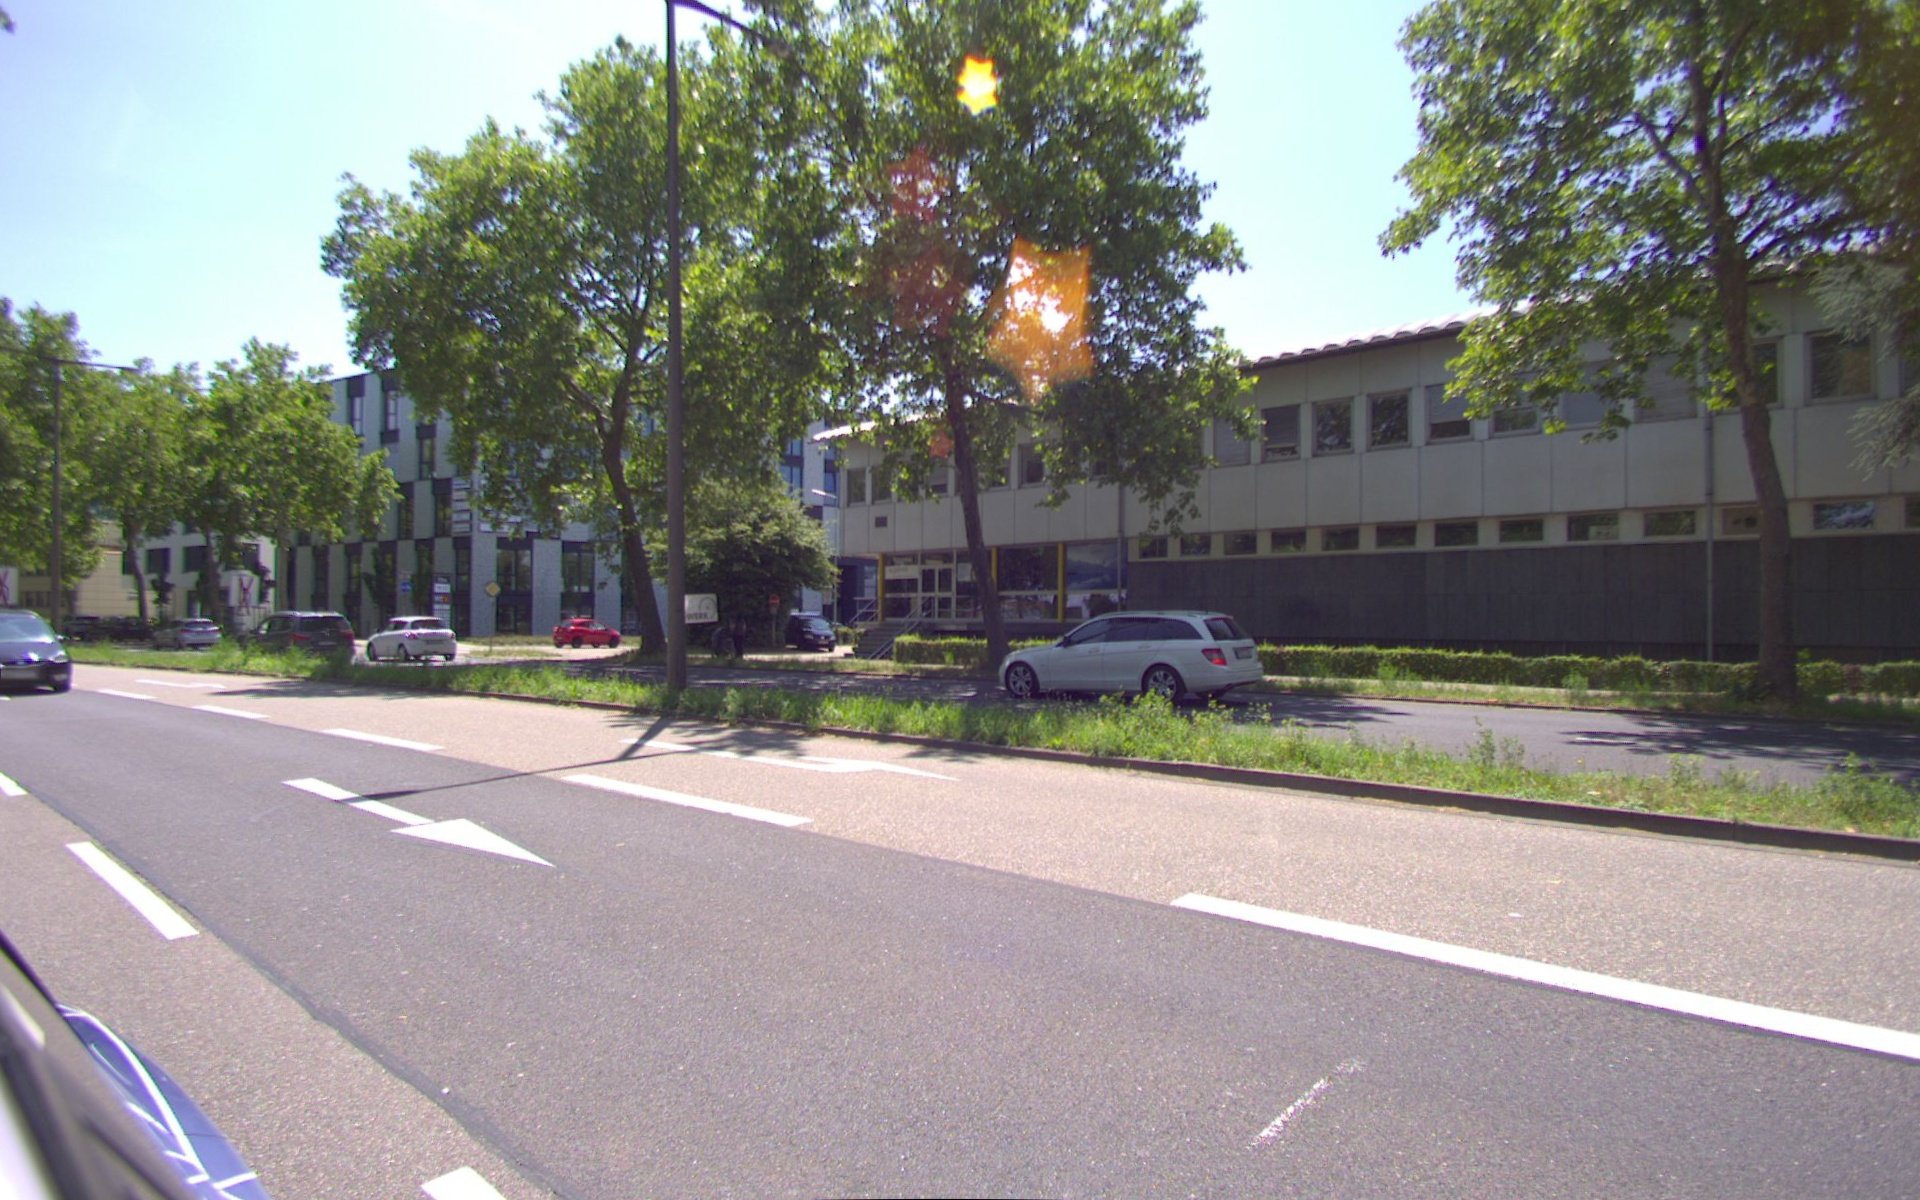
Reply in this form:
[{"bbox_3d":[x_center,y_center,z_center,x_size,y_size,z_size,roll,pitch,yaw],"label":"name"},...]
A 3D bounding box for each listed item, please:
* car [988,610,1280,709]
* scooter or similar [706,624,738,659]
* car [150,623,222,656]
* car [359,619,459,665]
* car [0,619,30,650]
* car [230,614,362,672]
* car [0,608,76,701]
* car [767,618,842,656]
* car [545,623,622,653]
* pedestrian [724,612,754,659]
[{"bbox_3d":[2.775,0.916,16.855,4.546,1.429,1.833,-1,-2,42],"label":"car"},{"bbox_3d":[-8.118,1.405,34.535,0.857,1.172,0.672,-1,-2,36],"label":"scooter or similar"},{"bbox_3d":[-35.332,1.781,46.177,3.667,1.454,1.735,-1,-2,38],"label":"car"},{"bbox_3d":[-18.803,1.397,34.484,3.669,1.470,1.715,-1,-2,39],"label":"car"},{"bbox_3d":[-48.692,1.730,51.414,2.847,1.540,1.519,-1,-2,34],"label":"car"},{"bbox_3d":[-20.729,1.306,31.522,4.611,1.668,1.932,-1,-2,36],"label":"car"},{"bbox_3d":[-19.959,1.071,20.826,4.642,1.769,1.836,-1,-1,38],"label":"car"},{"bbox_3d":[-7.447,1.730,48.344,3.528,1.660,1.795,-1,0,44],"label":"car"},{"bbox_3d":[-19.438,1.937,52.359,1.672,1.472,3.491,-1,-2,33],"label":"car"},{"bbox_3d":[-7.443,1.192,34.041,0.790,1.572,0.636,-1,-2,37],"label":"pedestrian"}]
